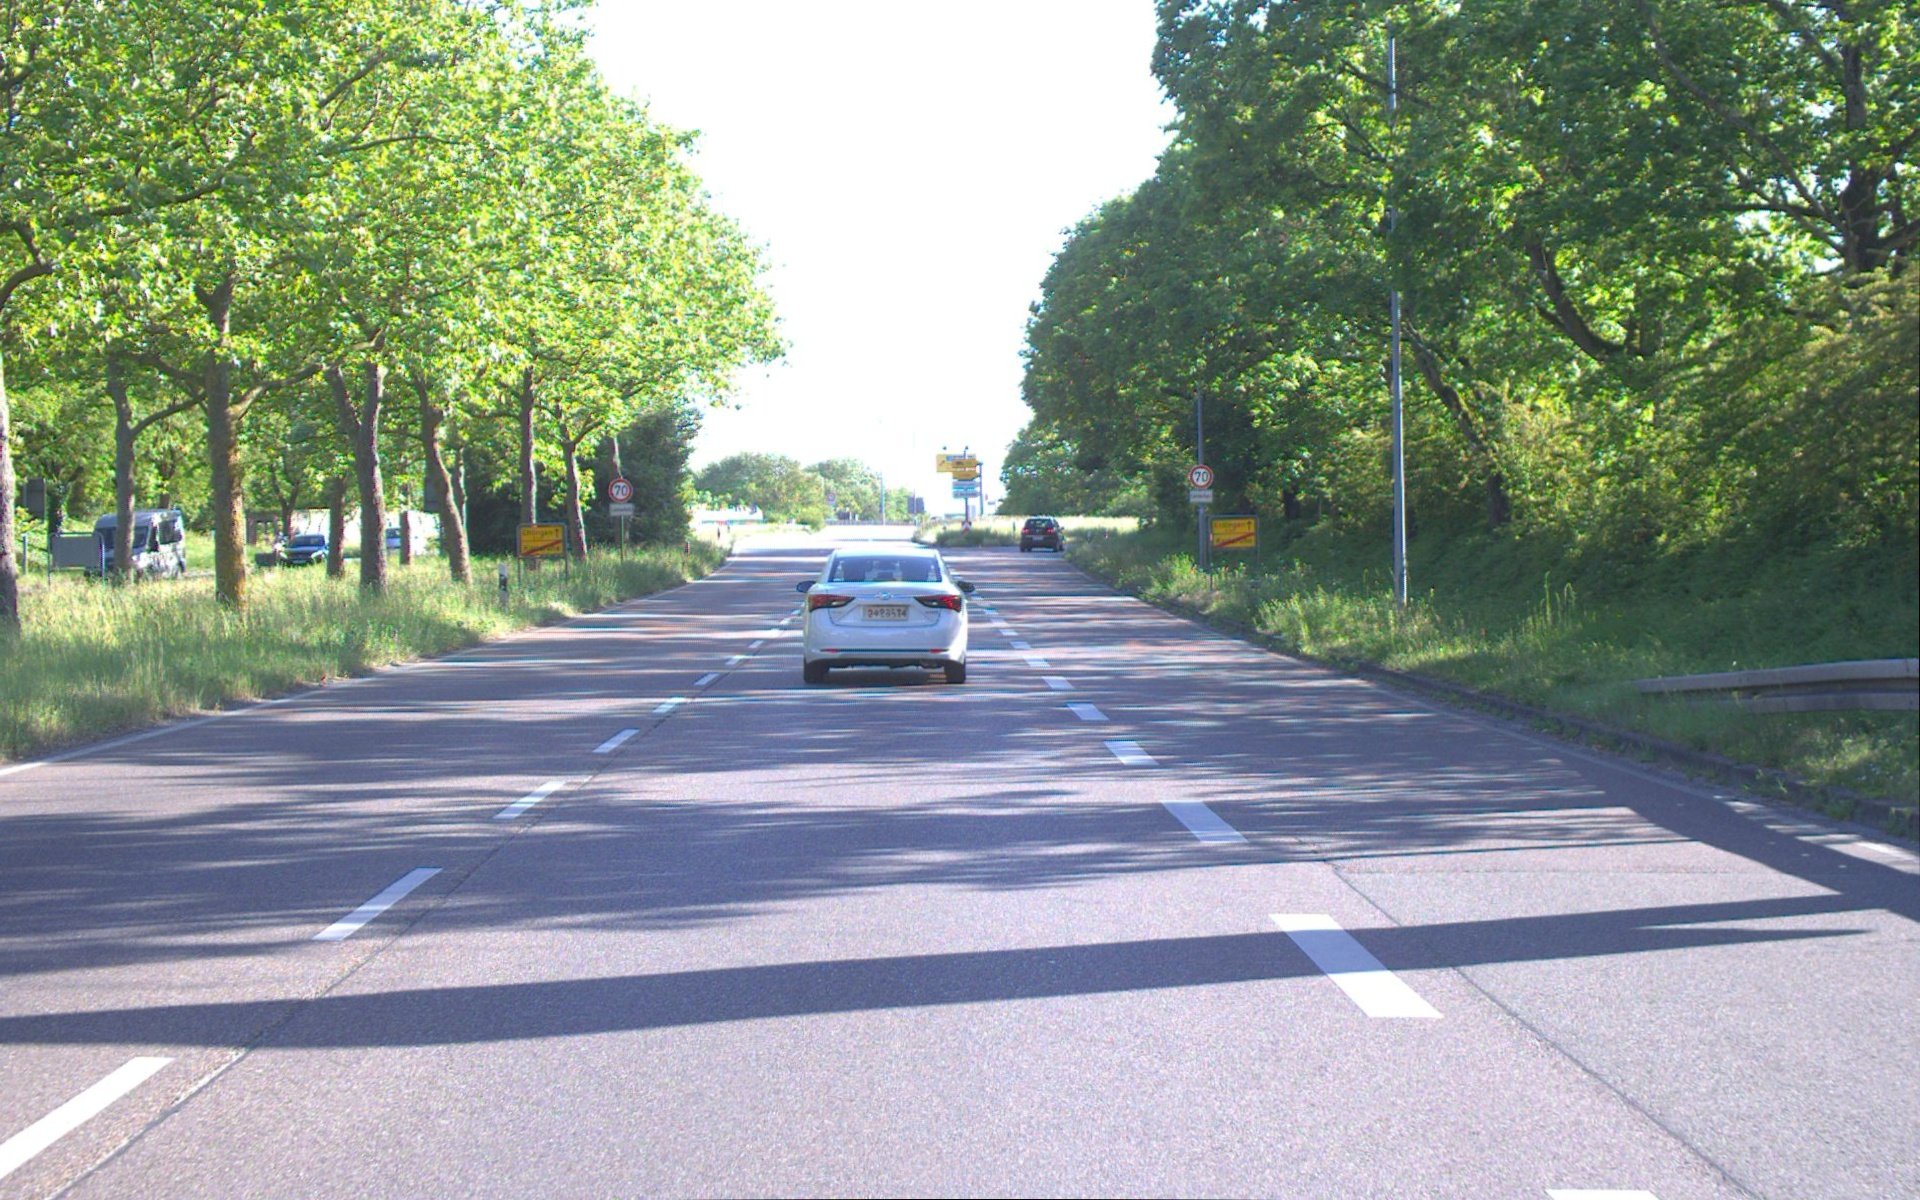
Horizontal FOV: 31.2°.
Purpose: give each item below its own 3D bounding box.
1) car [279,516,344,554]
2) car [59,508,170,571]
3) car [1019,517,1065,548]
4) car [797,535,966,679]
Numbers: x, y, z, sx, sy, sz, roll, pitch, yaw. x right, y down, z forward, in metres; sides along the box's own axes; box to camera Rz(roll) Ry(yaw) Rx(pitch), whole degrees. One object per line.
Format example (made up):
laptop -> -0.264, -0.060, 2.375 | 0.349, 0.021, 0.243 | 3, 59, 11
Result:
car -> -25.801, -2.582, 136.921 | 1.767, 1.459, 4.367 | -1, 1, -1
car -> -26.562, -1.924, 108.201 | 2.134, 1.895, 5.742 | -1, 1, -1
car -> 3.918, -3.223, 163.800 | 1.768, 1.459, 4.365 | -1, 1, 7
car -> -0.875, 0.032, 38.460 | 1.767, 1.459, 4.367 | -1, 1, -1
